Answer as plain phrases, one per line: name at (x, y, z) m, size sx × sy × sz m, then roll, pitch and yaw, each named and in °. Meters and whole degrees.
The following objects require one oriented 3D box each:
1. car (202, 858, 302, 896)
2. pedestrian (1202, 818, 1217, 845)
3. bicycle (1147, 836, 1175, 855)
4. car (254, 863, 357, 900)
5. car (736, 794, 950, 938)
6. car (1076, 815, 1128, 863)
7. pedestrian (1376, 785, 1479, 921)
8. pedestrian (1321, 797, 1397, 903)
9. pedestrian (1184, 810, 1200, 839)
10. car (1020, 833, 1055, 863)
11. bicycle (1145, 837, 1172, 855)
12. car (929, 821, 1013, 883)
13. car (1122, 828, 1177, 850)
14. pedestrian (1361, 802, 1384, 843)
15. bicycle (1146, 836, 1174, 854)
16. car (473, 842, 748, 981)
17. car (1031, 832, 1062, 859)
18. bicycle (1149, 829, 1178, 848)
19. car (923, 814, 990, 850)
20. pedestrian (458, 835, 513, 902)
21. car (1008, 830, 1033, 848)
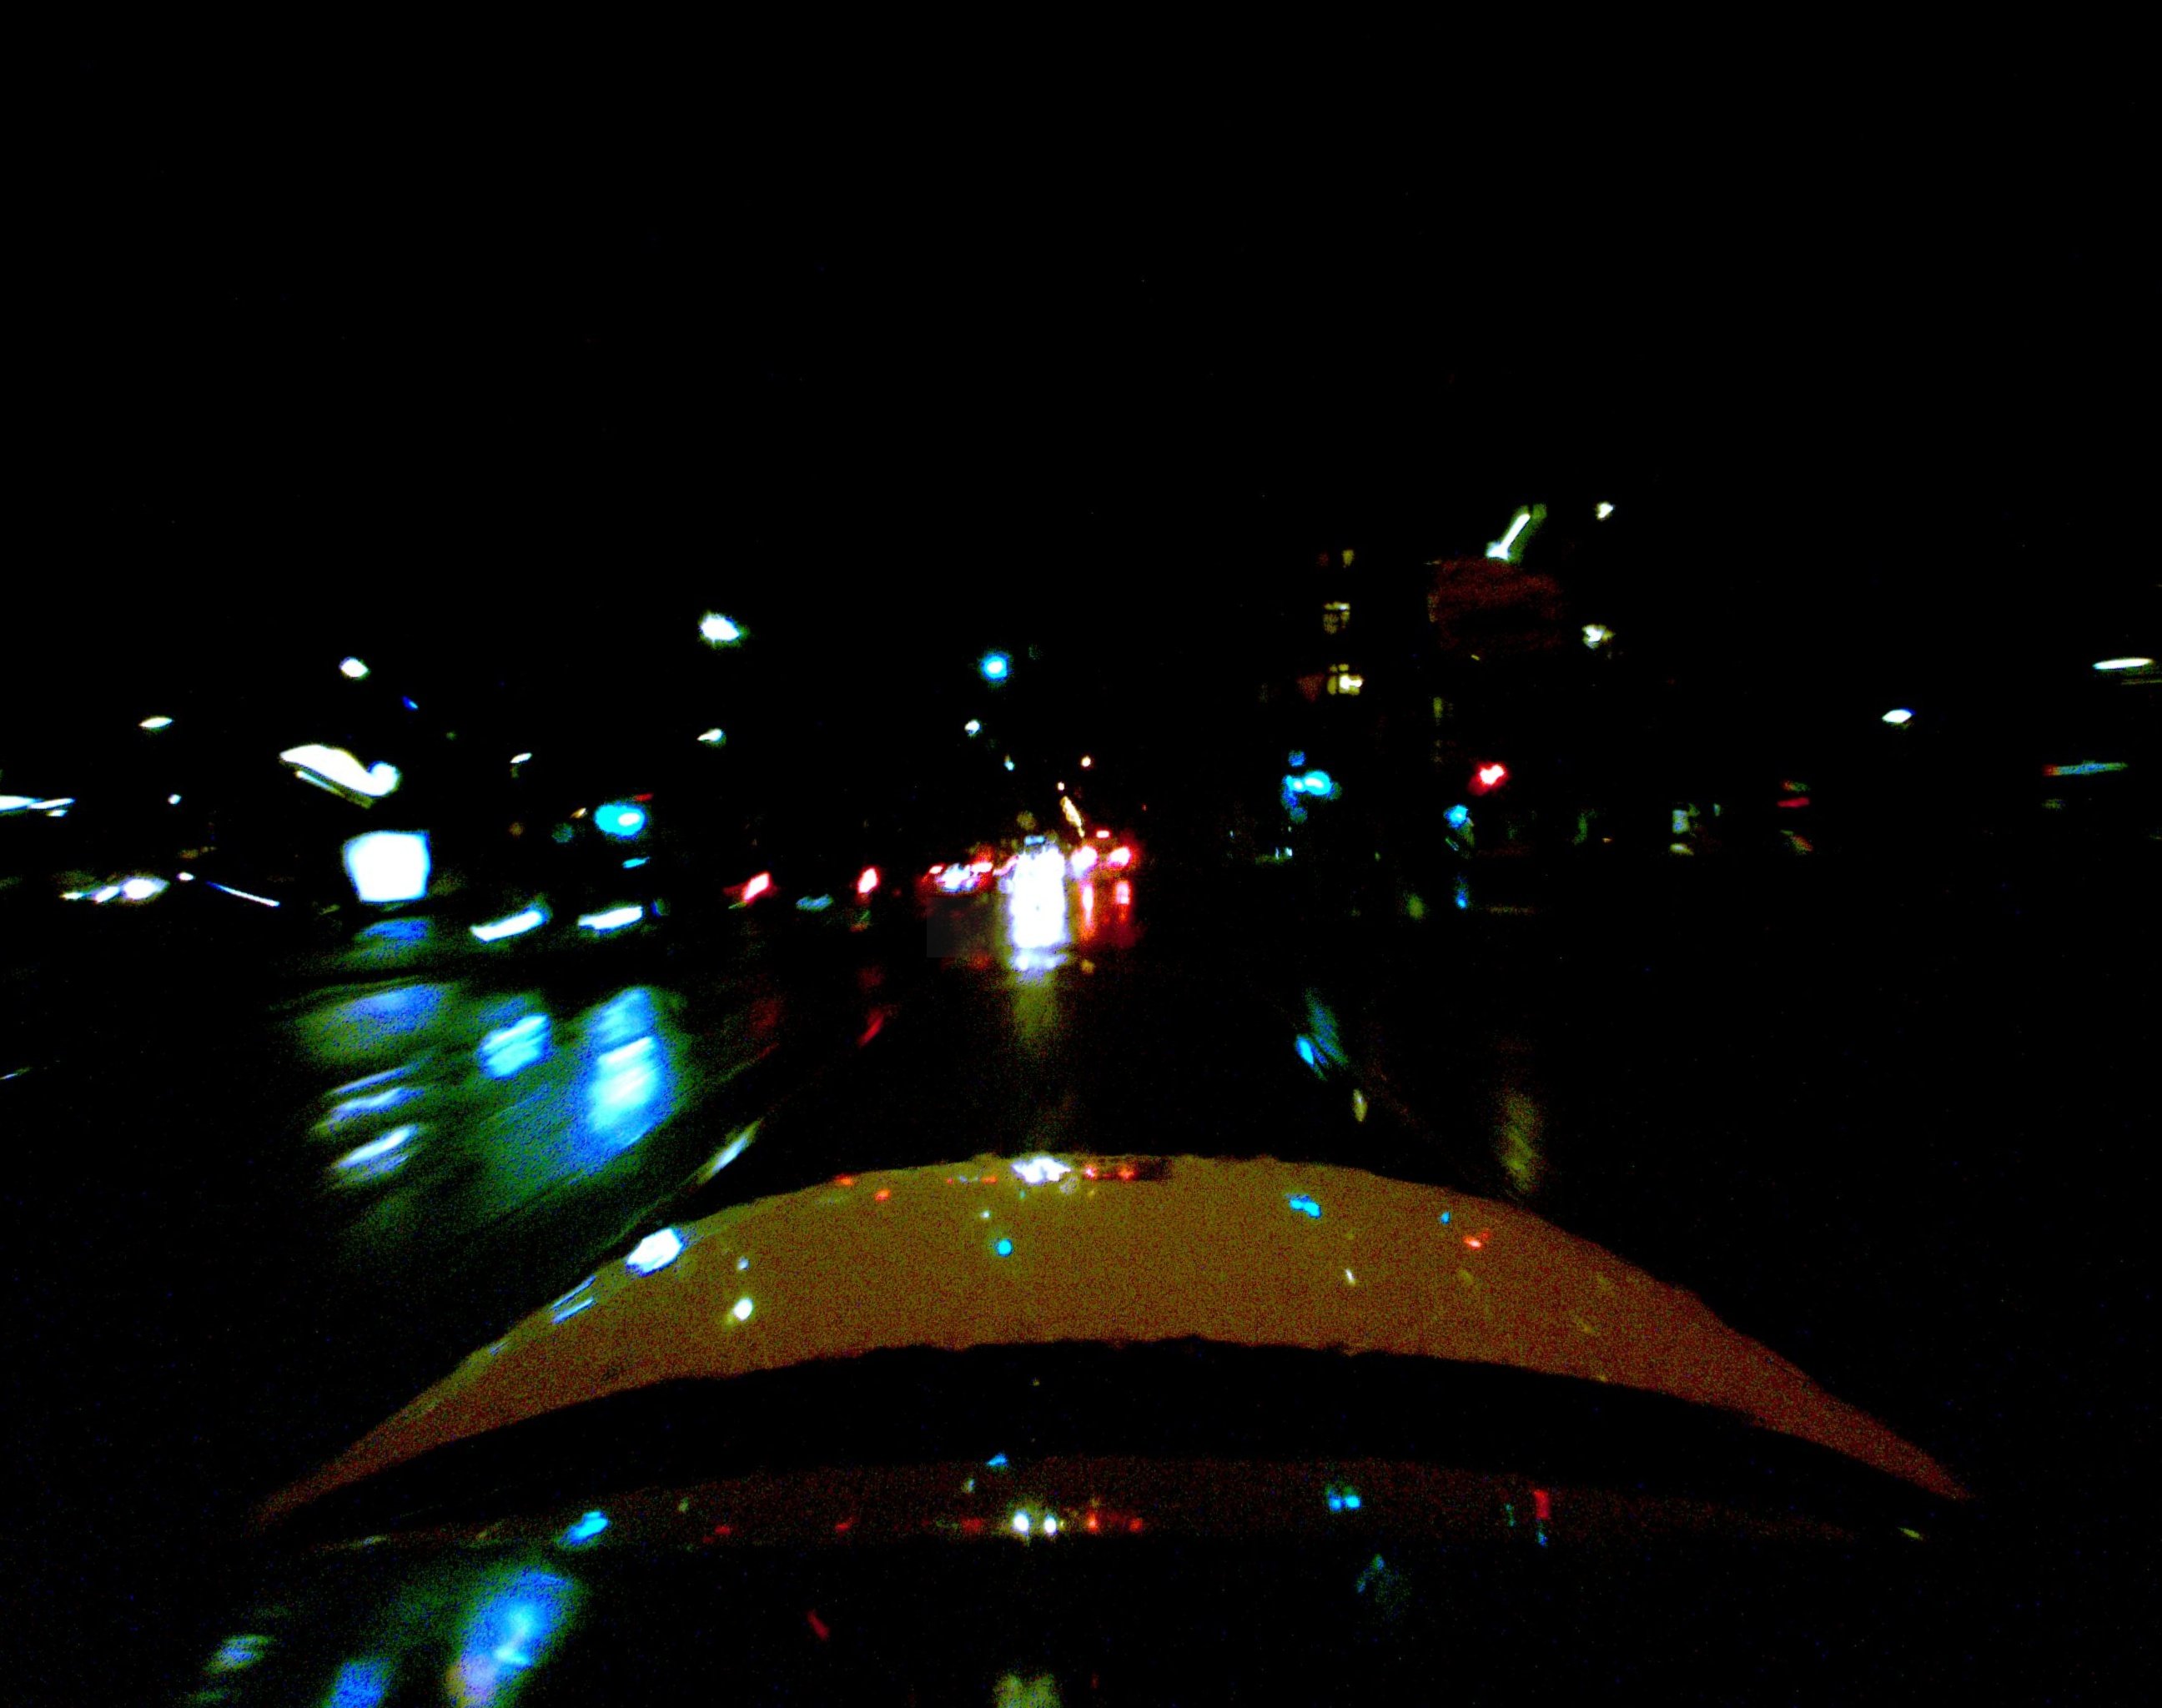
car at (-42.471, 1.180, 41.721) m, size 4.682 × 1.743 × 1.909 m, roll -1°, pitch 2°, yaw 23°
pedestrian at (8.089, -1.421, 51.378) m, size 0.778 × 1.617 × 1.000 m, roll -2°, pitch 1°, yaw 0°
bicycle at (5.815, -0.651, 59.562) m, size 1.894 × 1.251 × 0.595 m, roll -4°, pitch 1°, yaw -5°
car at (-36.858, 1.314, 38.699) m, size 4.281 × 1.569 × 1.909 m, roll -1°, pitch 2°, yaw 23°
car at (-3.852, 0.066, 14.372) m, size 2.027 × 1.953 × 5.202 m, roll -4°, pitch 2°, yaw 1°
car at (0.905, -0.690, 36.975) m, size 2.161 × 1.971 × 4.302 m, roll -2°, pitch 1°, yaw 0°
pedestrian at (4.867, -0.024, 11.507) m, size 1.102 × 1.825 × 0.852 m, roll -2°, pitch 2°, yaw 4°
pedestrian at (4.996, -0.088, 14.692) m, size 1.101 × 1.825 × 0.853 m, roll -2°, pitch 2°, yaw 6°
pedestrian at (7.593, -2.020, 55.677) m, size 0.954 × 1.881 × 1.000 m, roll -2°, pitch 1°, yaw 0°
car at (-2.387, -0.385, 45.359) m, size 1.701 × 1.542 × 3.988 m, roll -2°, pitch 1°, yaw 0°
bicycle at (5.778, -0.614, 60.864) m, size 1.894 × 1.251 × 0.595 m, roll -4°, pitch 1°, yaw -5°
car at (-3.046, -0.118, 23.411) m, size 1.813 × 1.542 × 4.724 m, roll -2°, pitch 1°, yaw -1°
car at (5.430, -1.180, 64.546) m, size 4.207 × 1.457 × 1.836 m, roll -5°, pitch 3°, yaw -38°
pedestrian at (14.680, -1.587, 40.990) m, size 0.965 × 2.013 × 1.022 m, roll -1°, pitch 4°, yaw 25°
bicycle at (5.822, -0.665, 60.232) m, size 1.894 × 1.251 × 0.595 m, roll -4°, pitch 1°, yaw -5°
car at (-6.683, 0.685, 12.189) m, size 1.640 × 1.511 × 4.108 m, roll -4°, pitch 2°, yaw -1°
car at (-2.136, -0.563, 50.975) m, size 1.663 × 1.562 × 4.008 m, roll -2°, pitch 1°, yaw 0°
bicycle at (5.953, -1.137, 58.575) m, size 1.894 × 1.251 × 0.709 m, roll -4°, pitch 1°, yaw -5°
car at (-6.594, -1.197, 43.645) m, size 1.877 × 1.780 × 4.353 m, roll -2°, pitch 2°, yaw 16°
pedestrian at (-16.094, 0.365, 22.022) m, size 0.761 × 1.736 × 0.976 m, roll -1°, pitch 2°, yaw 38°
car at (-7.214, -1.776, 96.157) m, size 1.996 × 1.971 × 4.277 m, roll -2°, pitch 2°, yaw -17°
